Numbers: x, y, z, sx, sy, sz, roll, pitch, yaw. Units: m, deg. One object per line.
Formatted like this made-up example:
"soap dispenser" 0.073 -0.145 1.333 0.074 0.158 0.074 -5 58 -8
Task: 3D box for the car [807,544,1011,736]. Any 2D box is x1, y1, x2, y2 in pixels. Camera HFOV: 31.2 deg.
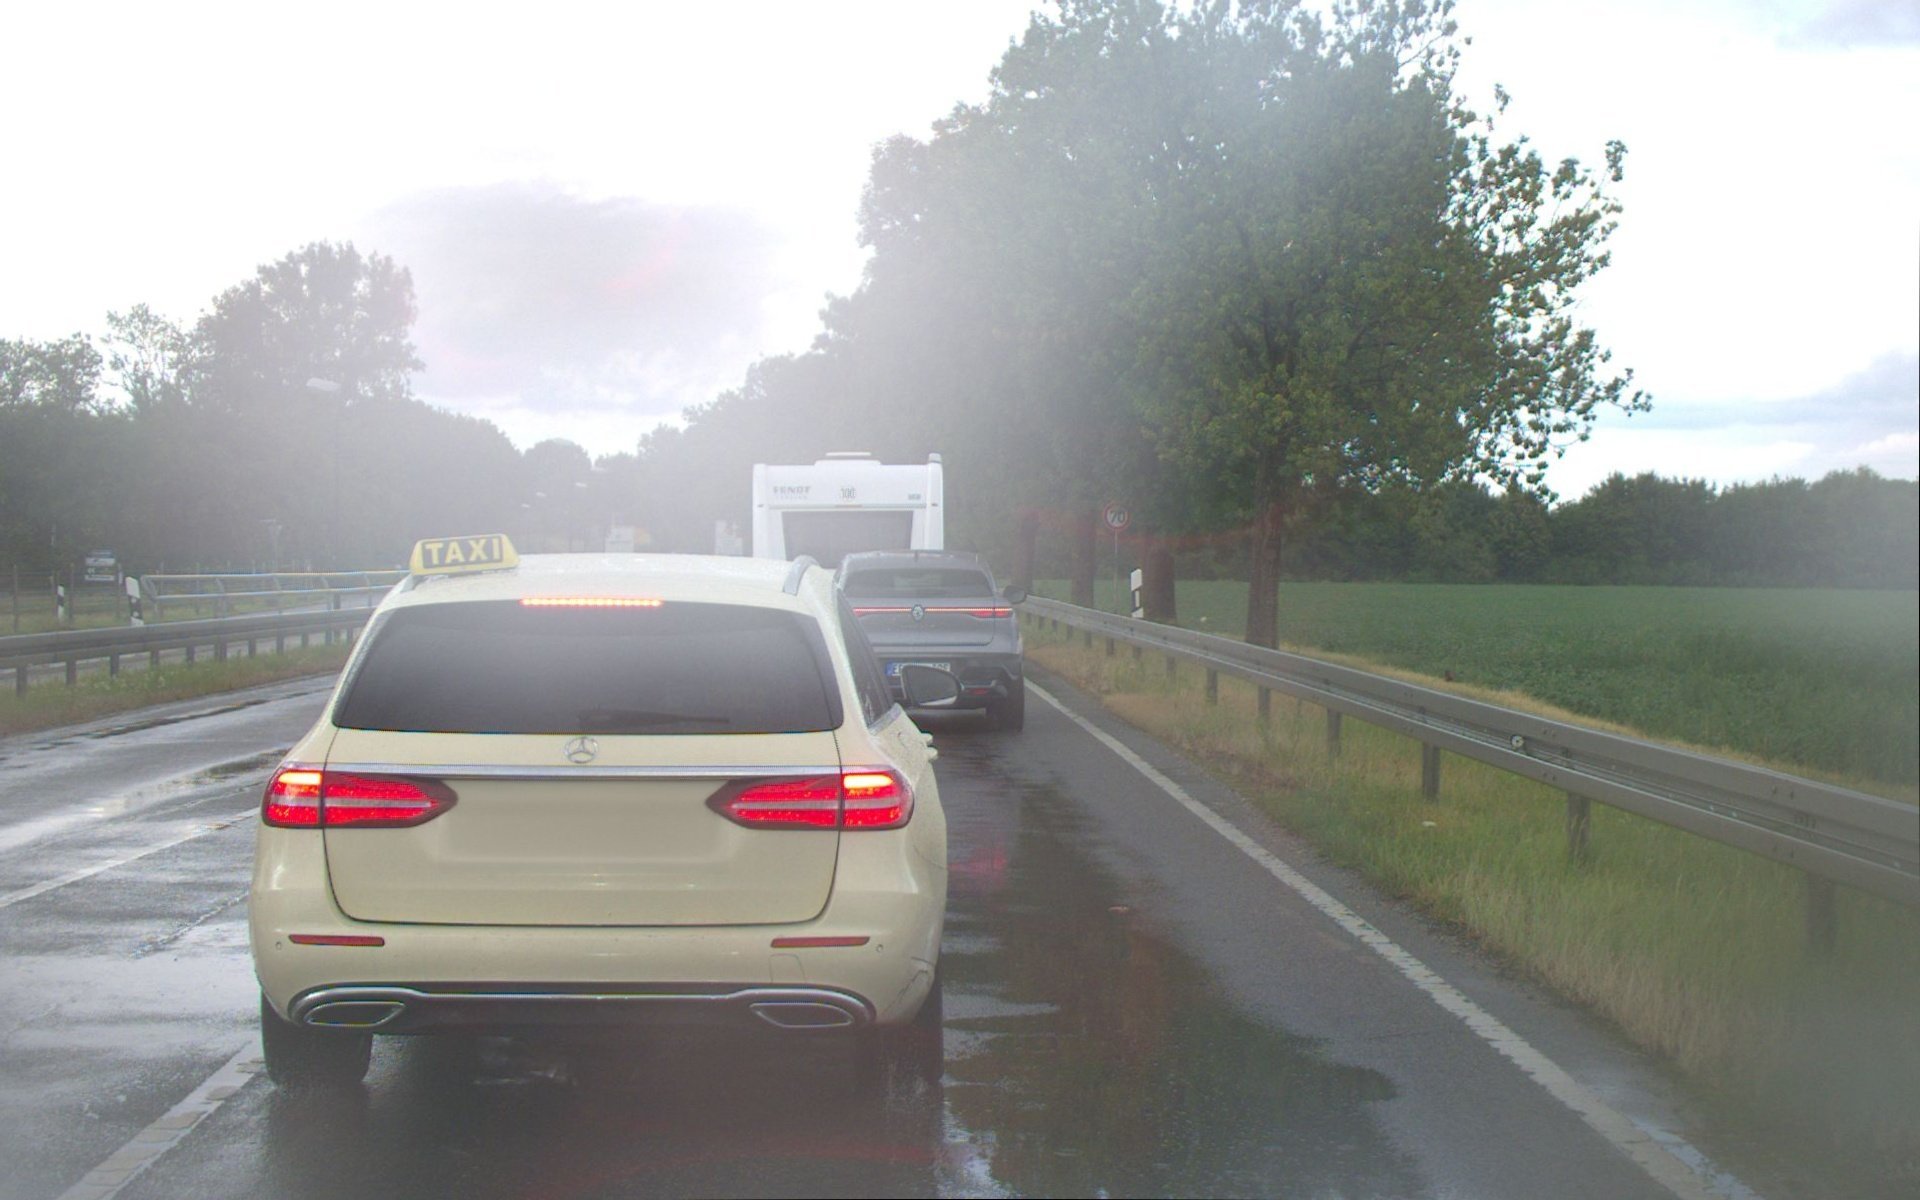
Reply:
"car" -0.435 0.291 29.502 1.627 1.524 3.933 0 1 -1

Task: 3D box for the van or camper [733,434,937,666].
"van or camper" -1.493 -0.641 42.927 2.350 2.671 5.769 1 1 -1

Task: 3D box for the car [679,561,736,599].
"car" -8.854 -0.711 120.704 1.758 1.265 4.000 0 1 -1

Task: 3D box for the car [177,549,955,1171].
"car" -0.946 0.594 10.292 1.825 1.480 4.145 0 1 0
